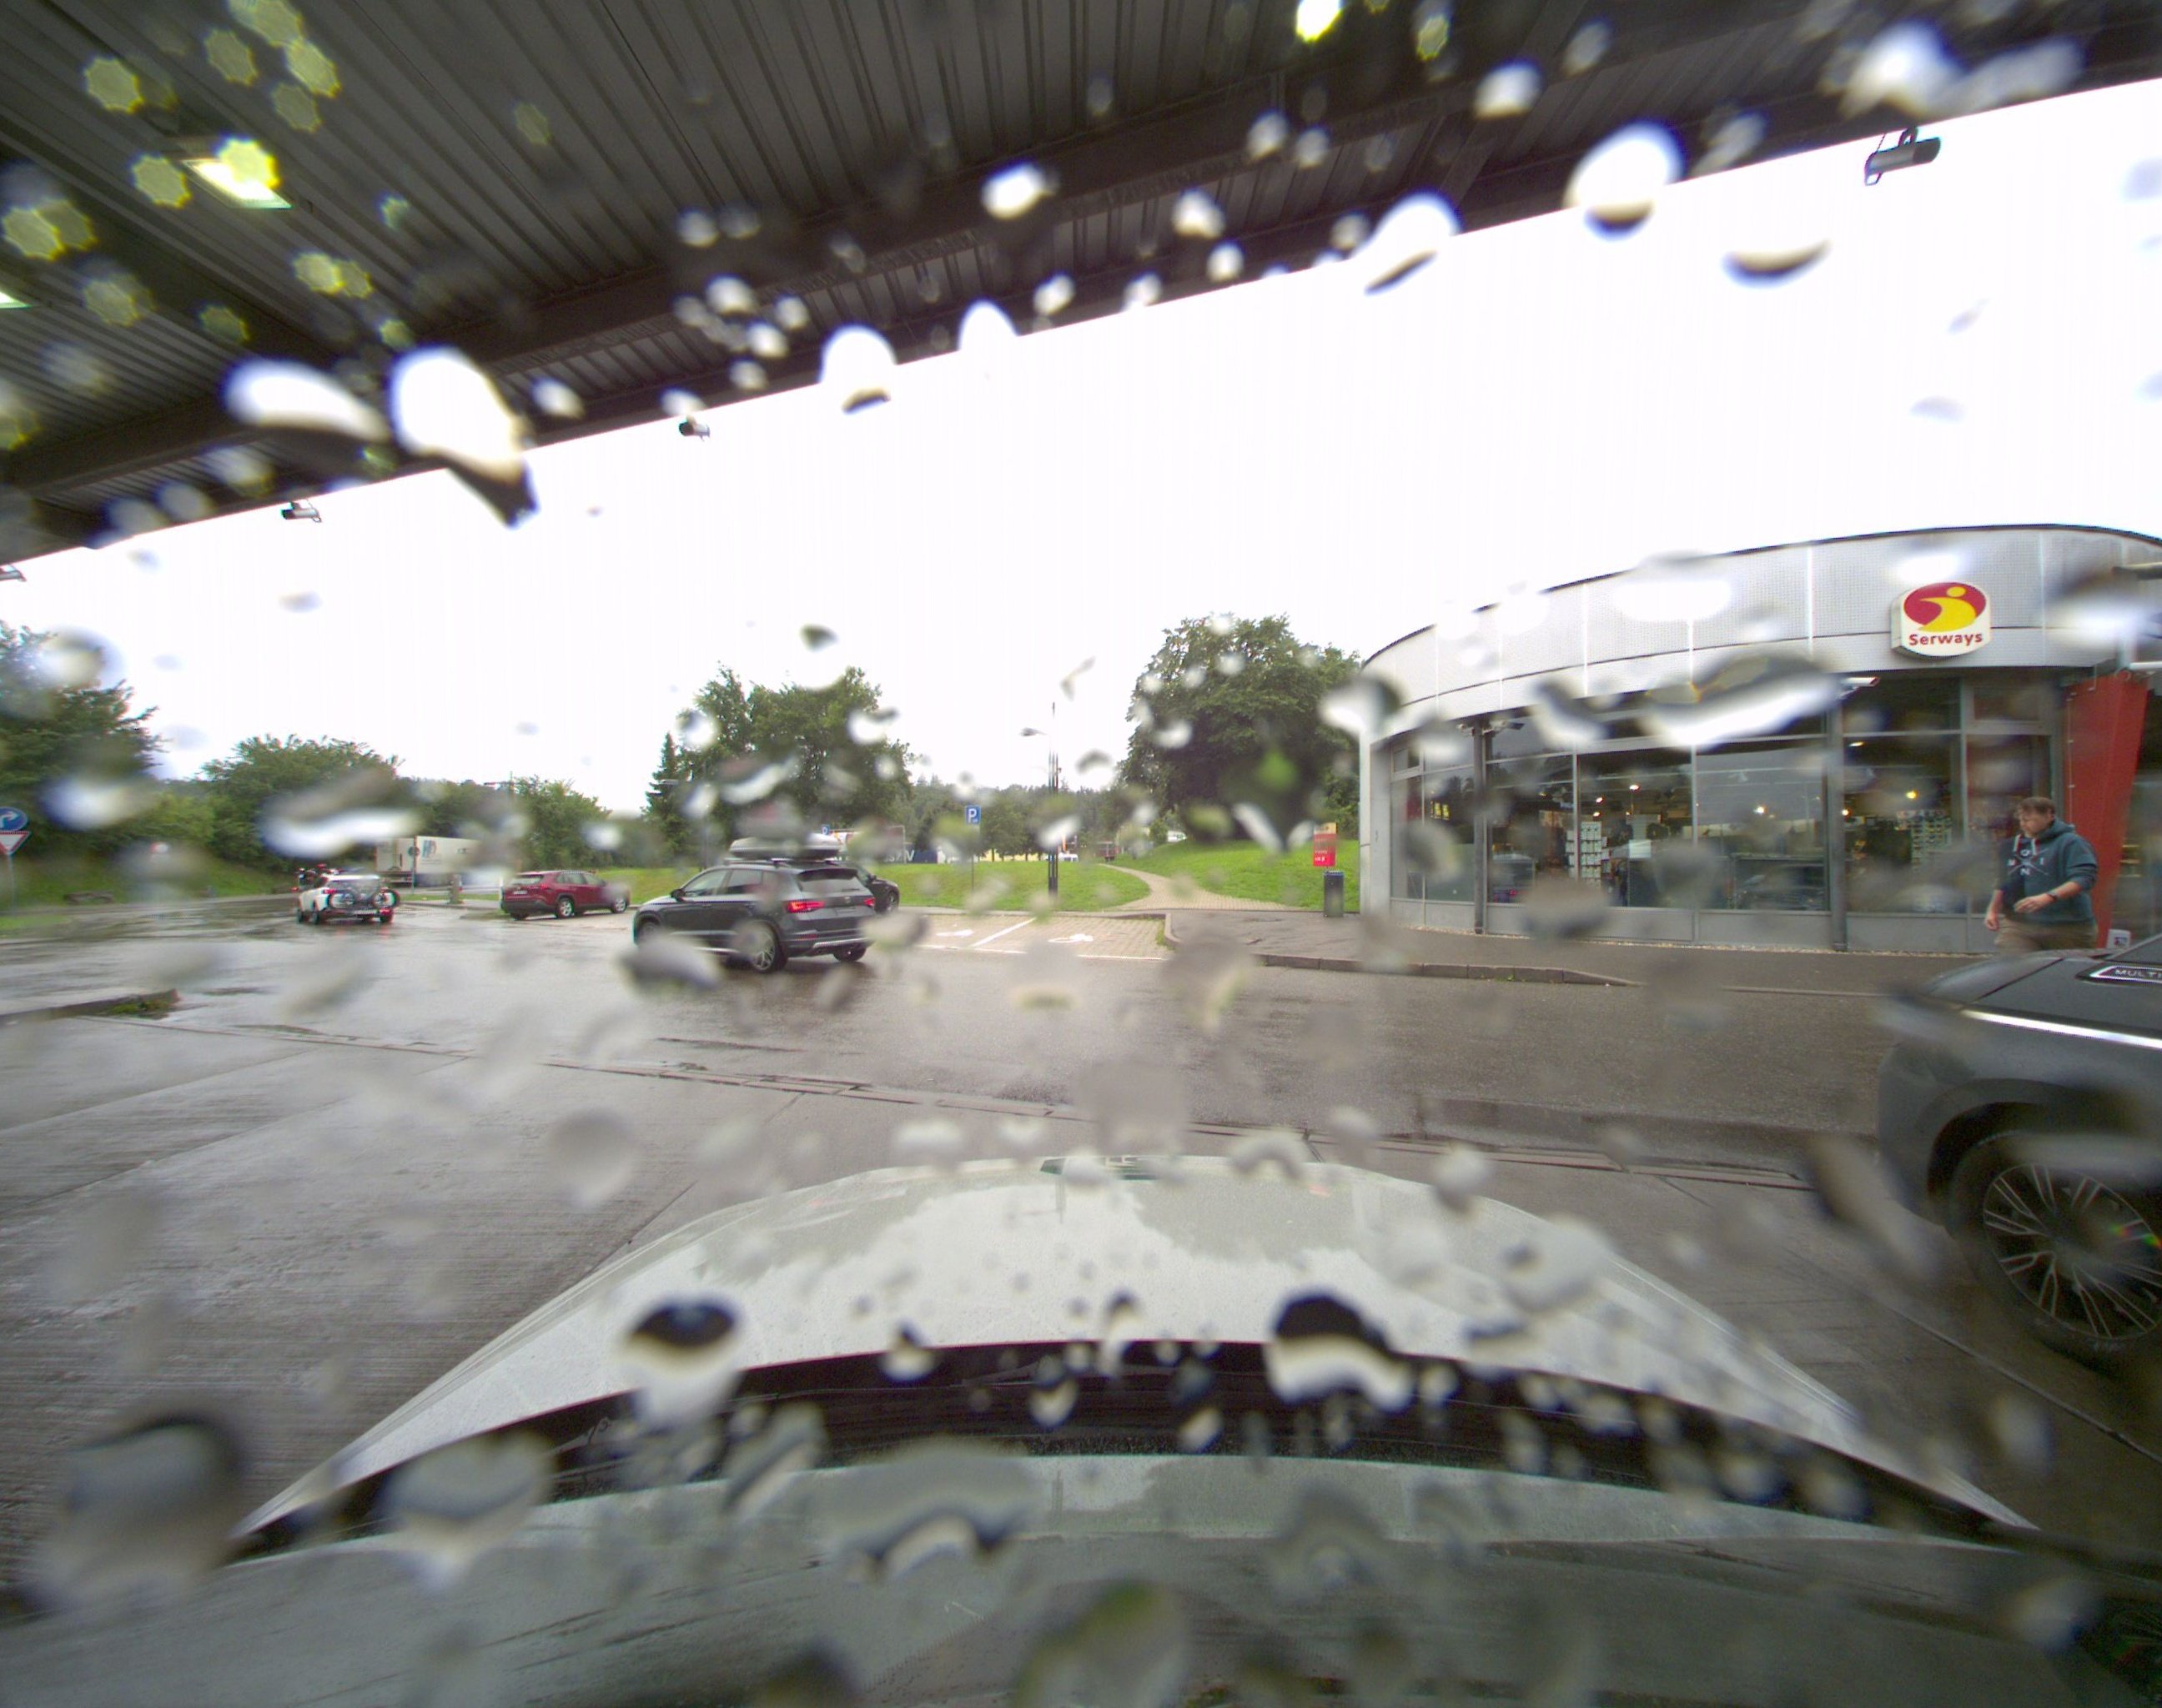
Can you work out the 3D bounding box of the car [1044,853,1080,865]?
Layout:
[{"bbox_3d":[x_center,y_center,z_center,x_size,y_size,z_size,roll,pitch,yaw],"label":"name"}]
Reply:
[{"bbox_3d":[-3.182,0.802,134.084,5.376,2.013,2.468,-1,0,21],"label":"car"}]

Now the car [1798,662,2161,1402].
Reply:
[{"bbox_3d":[3.716,0.462,1.236,1.809,1.948,4.002,-1,0,2],"label":"car"}]

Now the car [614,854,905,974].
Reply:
[{"bbox_3d":[-5.067,0.817,12.763,4.271,1.587,1.902,-1,0,28],"label":"car"}]

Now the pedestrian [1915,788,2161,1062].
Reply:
[{"bbox_3d":[7.176,0.496,6.153,0.712,1.894,1.009,-1,0,4],"label":"pedestrian"}]

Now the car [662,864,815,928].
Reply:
[{"bbox_3d":[-9.618,1.134,23.304,1.871,1.565,4.200,-2,0,13],"label":"car"}]

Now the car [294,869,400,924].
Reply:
[{"bbox_3d":[-23.763,1.303,26.316,4.940,1.565,1.831,-1,0,39],"label":"car"}]

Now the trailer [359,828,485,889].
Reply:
[{"bbox_3d":[-54.887,0.418,68.486,3.466,4.557,13.827,0,-1,-18],"label":"trailer"}]

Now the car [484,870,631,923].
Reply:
[{"bbox_3d":[-18.159,1.412,28.528,1.873,1.596,4.364,-2,0,8],"label":"car"}]

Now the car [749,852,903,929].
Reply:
[{"bbox_3d":[-6.617,0.885,21.747,1.871,1.828,4.429,-2,0,13],"label":"car"}]

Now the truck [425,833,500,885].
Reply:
[{"bbox_3d":[-57.110,0.491,75.427,3.467,4.557,6.694,0,-1,-18],"label":"truck"}]

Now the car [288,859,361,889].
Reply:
[{"bbox_3d":[-49.235,1.260,53.117,1.934,1.838,4.361,-1,0,-20],"label":"car"}]
